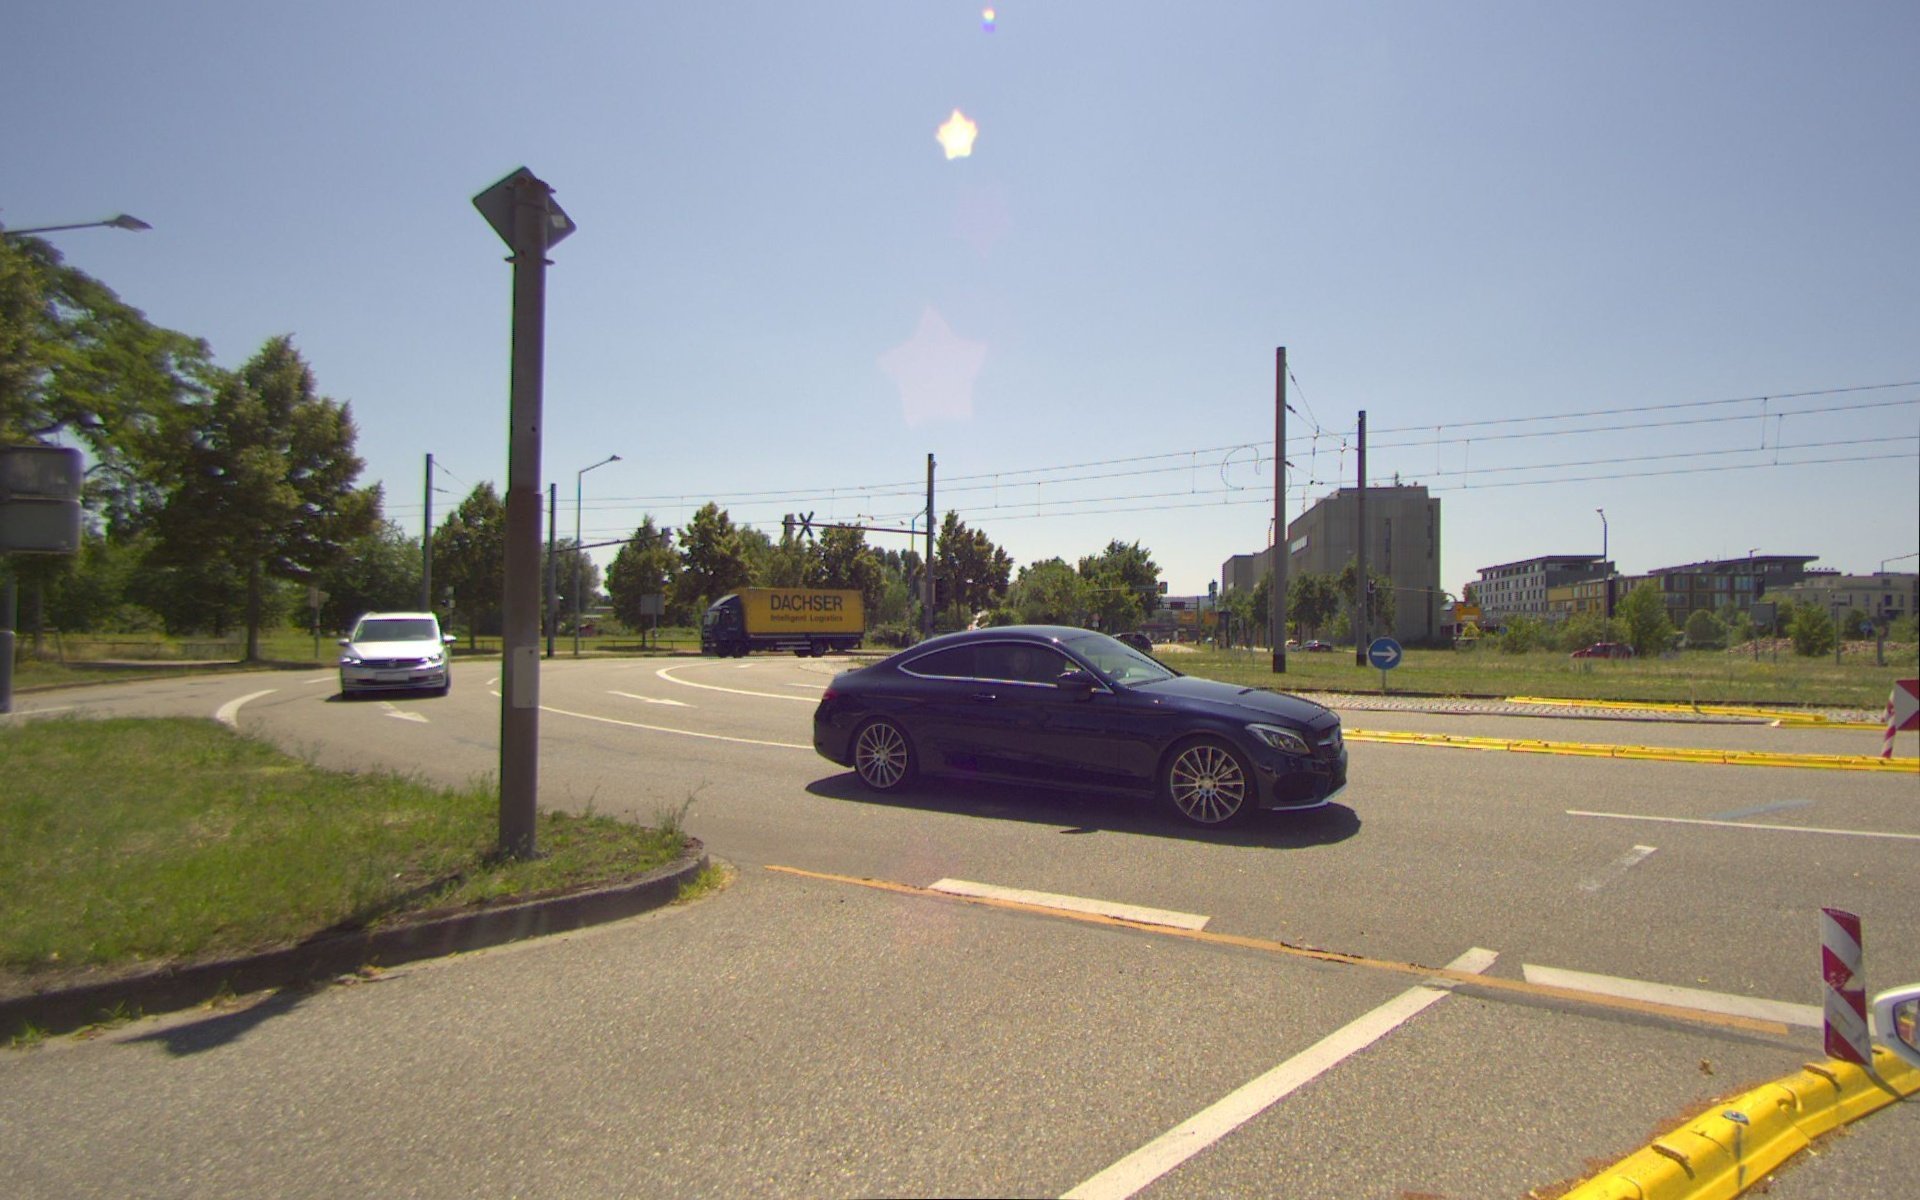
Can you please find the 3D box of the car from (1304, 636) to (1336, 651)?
[{"bbox_3d":[29.478,3.549,82.350,1.524,1.208,3.478,1,-2,2],"label":"car"}]

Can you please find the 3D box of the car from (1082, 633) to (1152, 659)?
[{"bbox_3d":[9.462,2.779,60.705,3.969,1.480,1.730,1,-2,-1],"label":"car"}]

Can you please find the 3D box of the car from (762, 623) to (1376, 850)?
[{"bbox_3d":[0.774,0.929,8.515,4.869,1.455,1.854,-1,-2,32],"label":"car"}]

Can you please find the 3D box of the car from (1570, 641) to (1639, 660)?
[{"bbox_3d":[40.056,3.143,62.449,3.465,1.104,1.492,-1,-2,38],"label":"car"}]

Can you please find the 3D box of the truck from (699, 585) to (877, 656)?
[{"bbox_3d":[-9.399,1.218,55.708,9.521,3.707,2.681,2,-2,-35],"label":"truck"}]

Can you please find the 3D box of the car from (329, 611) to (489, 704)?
[{"bbox_3d":[-11.055,1.096,20.512,1.776,1.670,4.591,1,-1,-15],"label":"car"}]

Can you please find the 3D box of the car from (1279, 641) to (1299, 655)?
[{"bbox_3d":[41.705,6.114,127.533,1.959,1.639,4.003,2,-1,12],"label":"car"}]
